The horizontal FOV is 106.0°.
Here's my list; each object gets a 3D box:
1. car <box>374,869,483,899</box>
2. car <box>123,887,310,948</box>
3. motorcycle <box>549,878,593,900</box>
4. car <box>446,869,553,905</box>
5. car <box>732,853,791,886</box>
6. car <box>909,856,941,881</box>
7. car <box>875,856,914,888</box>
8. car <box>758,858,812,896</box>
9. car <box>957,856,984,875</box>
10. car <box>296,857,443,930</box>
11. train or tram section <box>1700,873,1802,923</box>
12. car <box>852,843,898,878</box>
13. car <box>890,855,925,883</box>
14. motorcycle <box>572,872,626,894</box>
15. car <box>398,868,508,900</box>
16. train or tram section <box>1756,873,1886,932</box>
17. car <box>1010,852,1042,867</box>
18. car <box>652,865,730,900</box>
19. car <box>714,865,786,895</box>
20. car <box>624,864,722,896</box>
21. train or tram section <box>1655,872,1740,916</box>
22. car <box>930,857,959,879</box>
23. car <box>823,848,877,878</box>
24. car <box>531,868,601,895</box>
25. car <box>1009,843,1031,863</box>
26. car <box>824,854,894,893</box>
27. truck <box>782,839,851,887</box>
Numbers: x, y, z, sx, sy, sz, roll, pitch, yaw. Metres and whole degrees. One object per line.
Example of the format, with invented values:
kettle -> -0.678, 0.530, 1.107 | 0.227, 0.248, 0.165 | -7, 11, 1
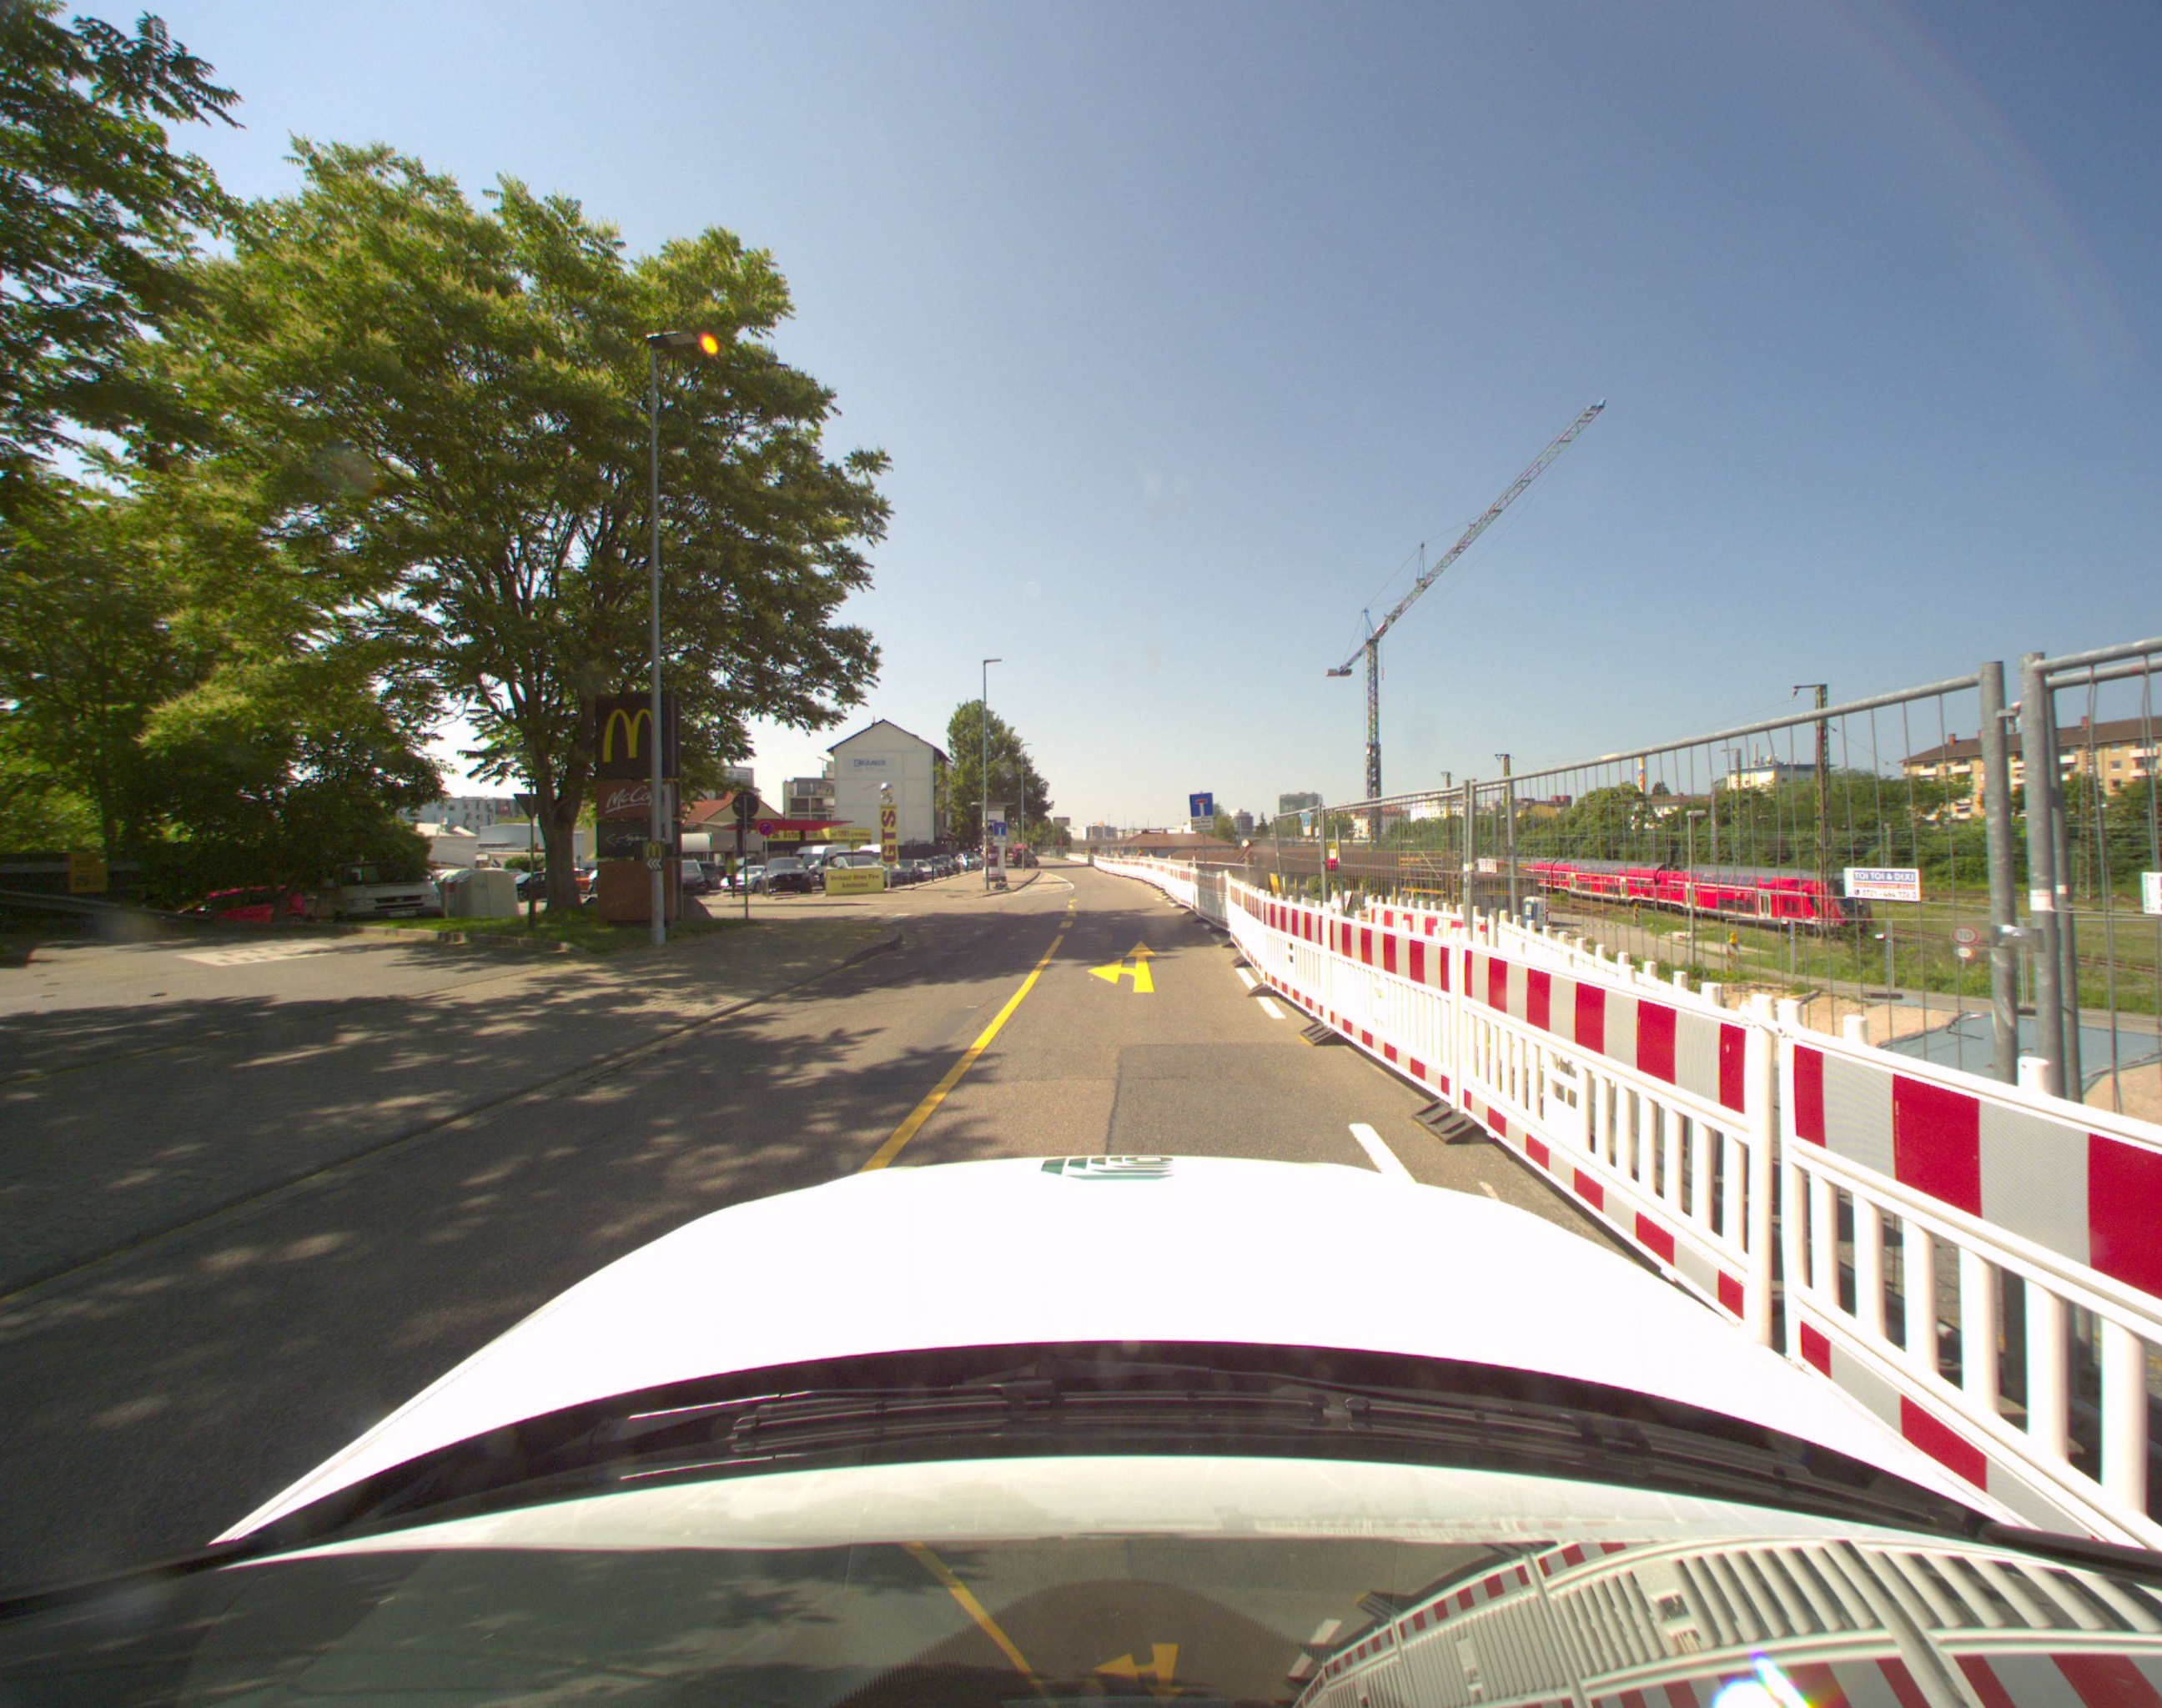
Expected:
car -> -38.705, 1.742, 48.464 | 1.976, 1.726, 4.678 | -1, -1, 21
car -> -24.797, 1.769, 23.491 | 1.467, 1.378, 3.436 | 1, 2, 30
motorcycle -> -28.048, 1.899, 44.786 | 0.779, 1.159, 1.886 | -1, -1, 40
car -> -30.192, 1.671, 42.412 | 1.975, 1.706, 4.024 | -1, -1, 28
car -> -20.238, 0.990, 51.784 | 1.987, 2.014, 4.494 | 0, -1, 0
car -> -10.526, 0.958, 54.817 | 1.860, 1.629, 3.979 | -1, 0, -15
car -> -10.031, 0.918, 43.648 | 1.860, 1.629, 3.979 | -1, 0, -15
car -> -13.494, 0.999, 37.019 | 2.056, 1.594, 4.389 | 0, -1, -23
car -> -9.724, 0.993, 71.540 | 1.860, 1.629, 3.979 | -1, 0, -15
car -> -17.965, 0.896, 20.472 | 4.966, 1.583, 1.970 | 0, 0, 39
train or tram section -> 55.303, 3.493, 67.596 | 2.993, 3.714, 9.006 | 2, 0, 14
car -> -14.087, 0.420, 55.955 | 2.130, 2.284, 4.707 | -1, 0, -2
car -> -10.496, 0.887, 49.216 | 1.860, 1.629, 3.979 | -1, 0, -15
motorcycle -> -28.529, 1.700, 48.282 | 0.987, 1.227, 2.732 | -1, -1, 21
car -> -36.512, 1.718, 47.495 | 1.976, 1.726, 4.678 | -1, -1, 21
train or tram section -> 53.103, 3.337, 58.831 | 2.993, 3.701, 9.006 | 2, 0, 14
car -> -6.205, 0.665, 92.572 | 3.299, 1.637, 1.705 | 0, -1, -42
car -> -17.963, 1.286, 37.728 | 1.783, 1.510, 3.997 | 0, -1, -2
car -> -17.633, 1.361, 43.618 | 1.778, 1.487, 4.008 | 0, -1, 8
car -> -21.692, 1.338, 43.356 | 4.356, 1.585, 1.977 | 0, -1, -39
train or tram section -> 57.526, 3.584, 76.325 | 2.993, 3.712, 9.006 | 2, 0, 14
car -> -10.719, 1.071, 63.571 | 1.860, 1.629, 3.979 | -1, 0, -15
car -> -14.081, 0.510, 49.911 | 1.871, 1.738, 4.722 | 0, 0, 1
car -> -31.833, 1.670, 50.310 | 3.949, 1.585, 2.012 | -1, -1, 30
car -> -7.943, -0.136, 106.500 | 2.530, 2.520, 5.116 | 0, -1, 0
car -> -10.616, 0.898, 38.703 | 2.008, 1.725, 3.957 | 0, -1, -35
truck -> -16.934, 0.556, 52.439 | 2.260, 2.904, 5.946 | 0, 0, 2
